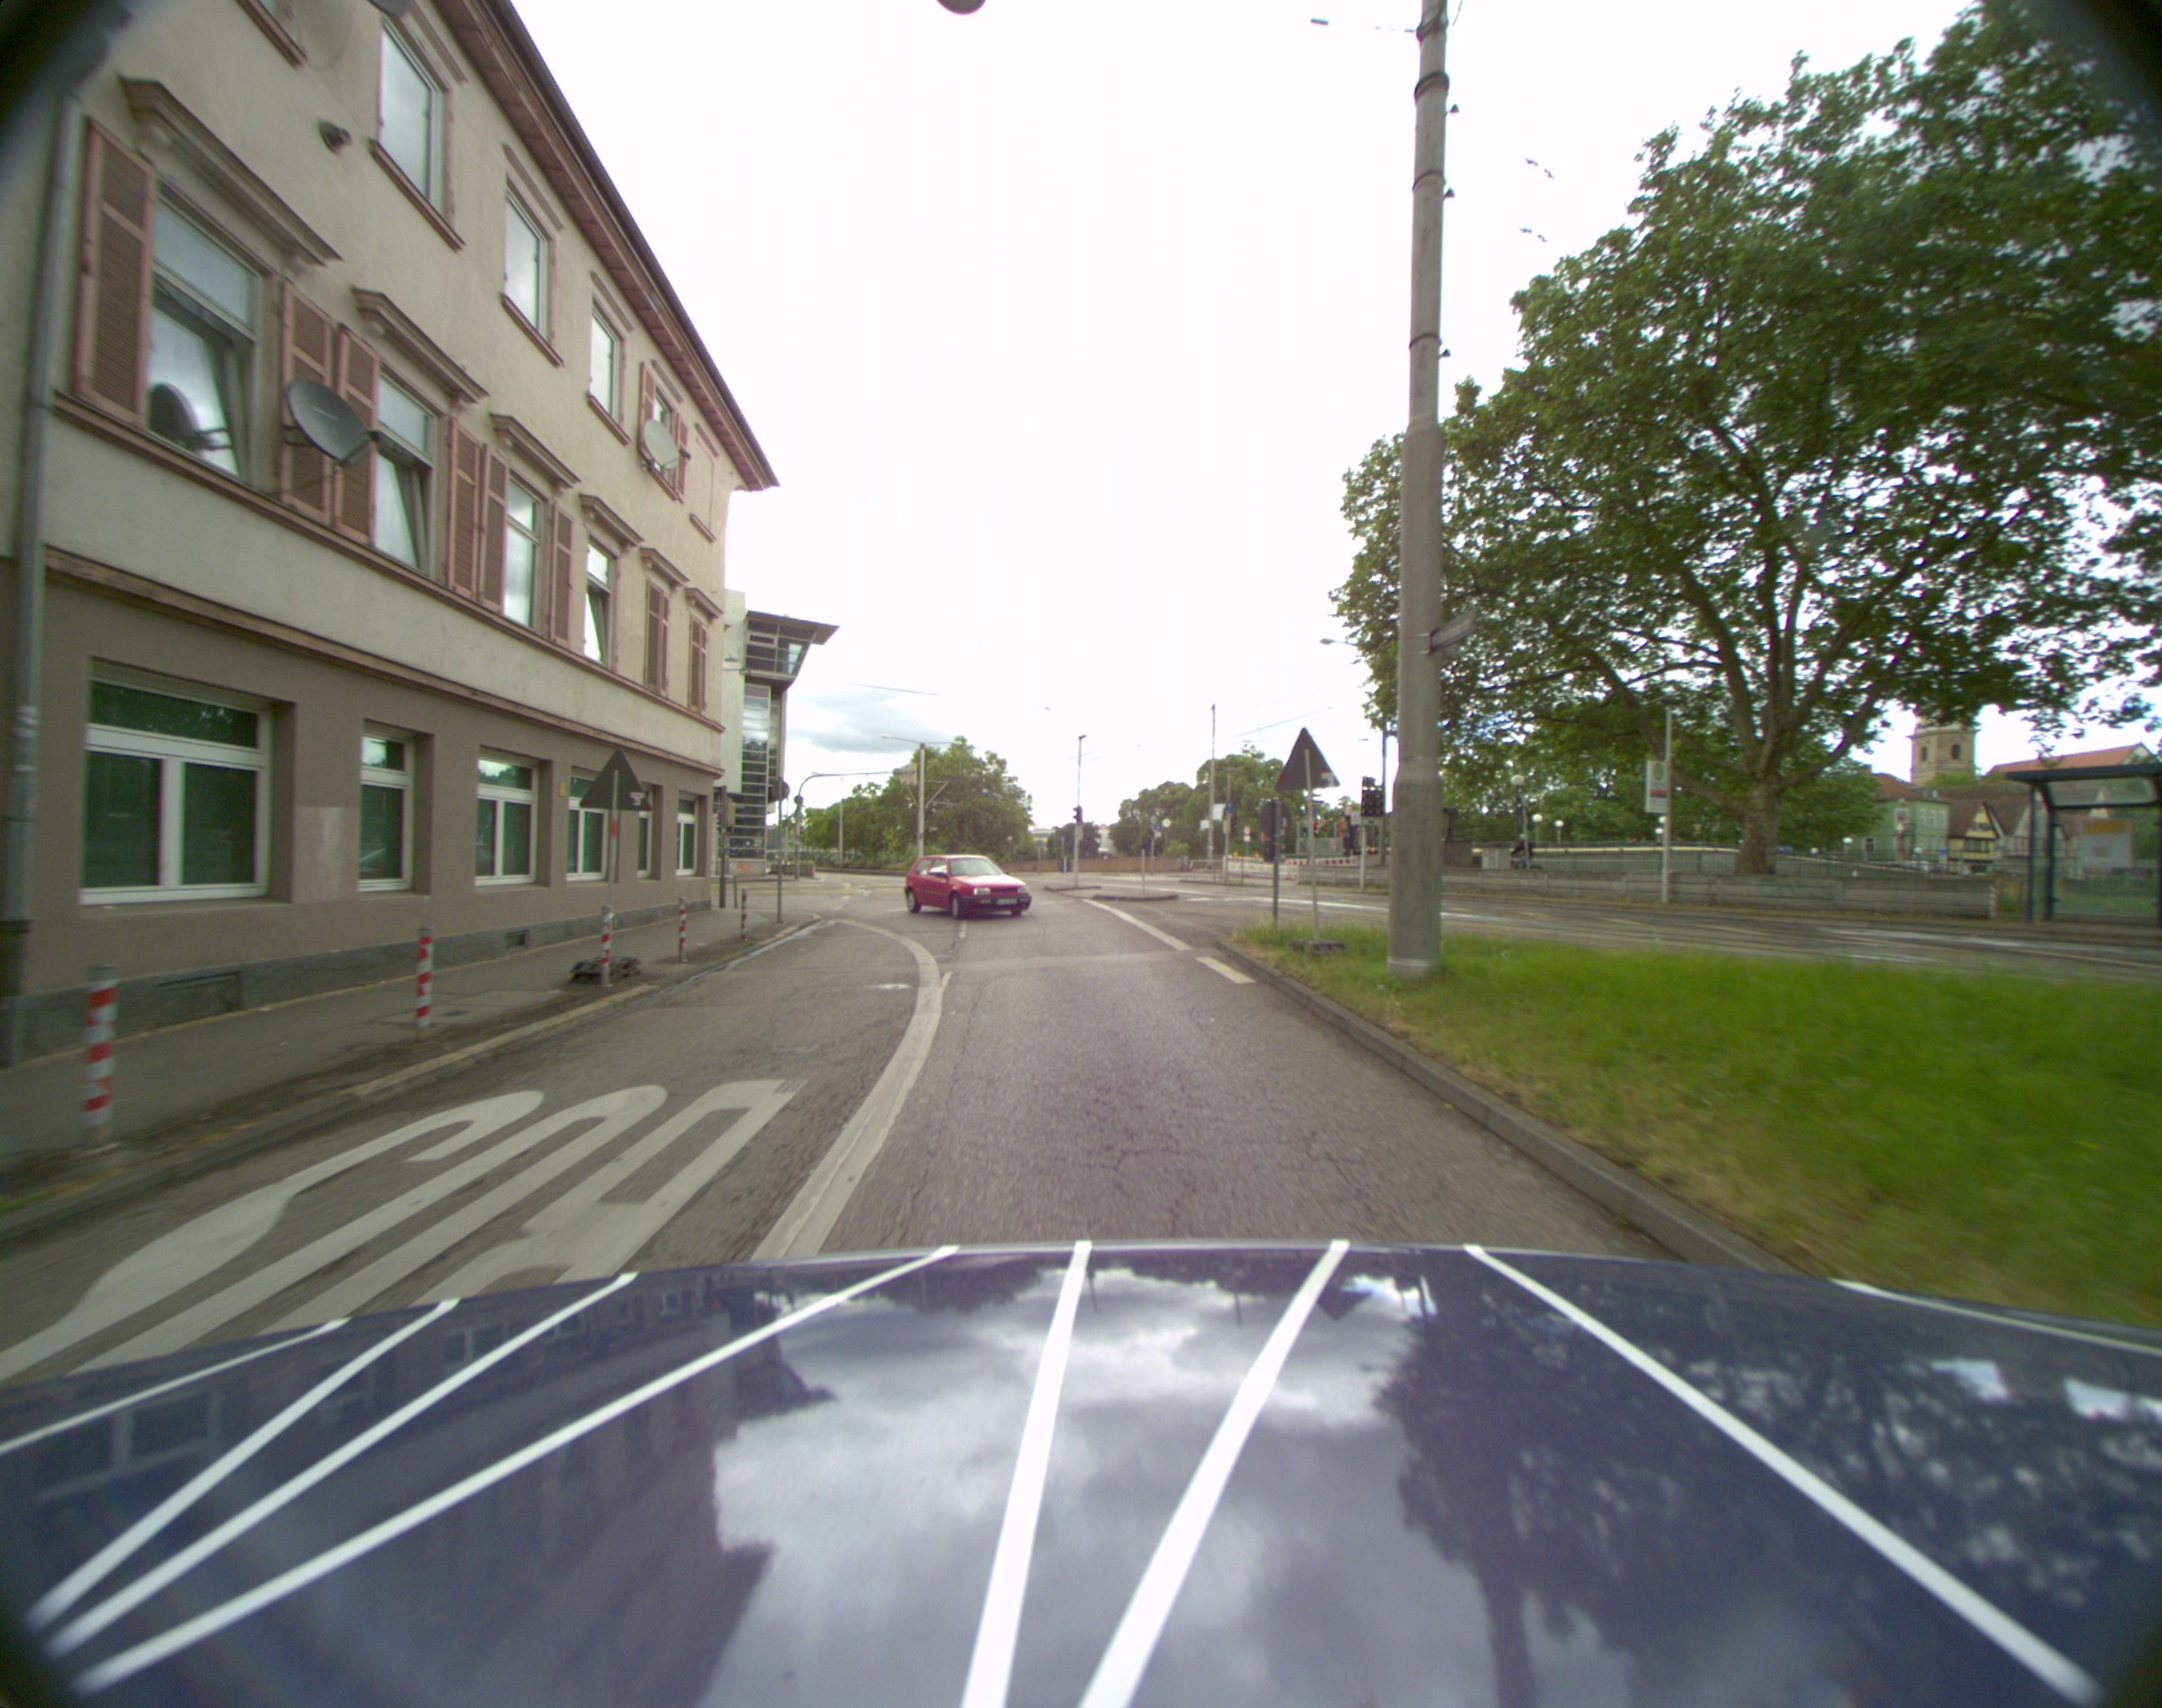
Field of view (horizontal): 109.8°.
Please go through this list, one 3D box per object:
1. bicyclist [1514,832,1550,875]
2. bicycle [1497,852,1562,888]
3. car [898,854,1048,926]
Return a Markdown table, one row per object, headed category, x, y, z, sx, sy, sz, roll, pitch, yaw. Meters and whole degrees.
| category | x | y | z | sx | sy | sz | roll | pitch | yaw |
| --- | --- | --- | --- | --- | --- | --- | --- | --- | --- |
| bicyclist | 17.717 | -0.033 | 29.852 | 0.643 | 1.641 | 1.006 | -3 | 3 | -21 |
| bicycle | 17.691 | 0.610 | 30.050 | 0.692 | 1.271 | 2.260 | -3 | 3 | -21 |
| car | -2.699 | 0.759 | 18.162 | 1.854 | 1.414 | 4.161 | -2 | 2 | -35 |
